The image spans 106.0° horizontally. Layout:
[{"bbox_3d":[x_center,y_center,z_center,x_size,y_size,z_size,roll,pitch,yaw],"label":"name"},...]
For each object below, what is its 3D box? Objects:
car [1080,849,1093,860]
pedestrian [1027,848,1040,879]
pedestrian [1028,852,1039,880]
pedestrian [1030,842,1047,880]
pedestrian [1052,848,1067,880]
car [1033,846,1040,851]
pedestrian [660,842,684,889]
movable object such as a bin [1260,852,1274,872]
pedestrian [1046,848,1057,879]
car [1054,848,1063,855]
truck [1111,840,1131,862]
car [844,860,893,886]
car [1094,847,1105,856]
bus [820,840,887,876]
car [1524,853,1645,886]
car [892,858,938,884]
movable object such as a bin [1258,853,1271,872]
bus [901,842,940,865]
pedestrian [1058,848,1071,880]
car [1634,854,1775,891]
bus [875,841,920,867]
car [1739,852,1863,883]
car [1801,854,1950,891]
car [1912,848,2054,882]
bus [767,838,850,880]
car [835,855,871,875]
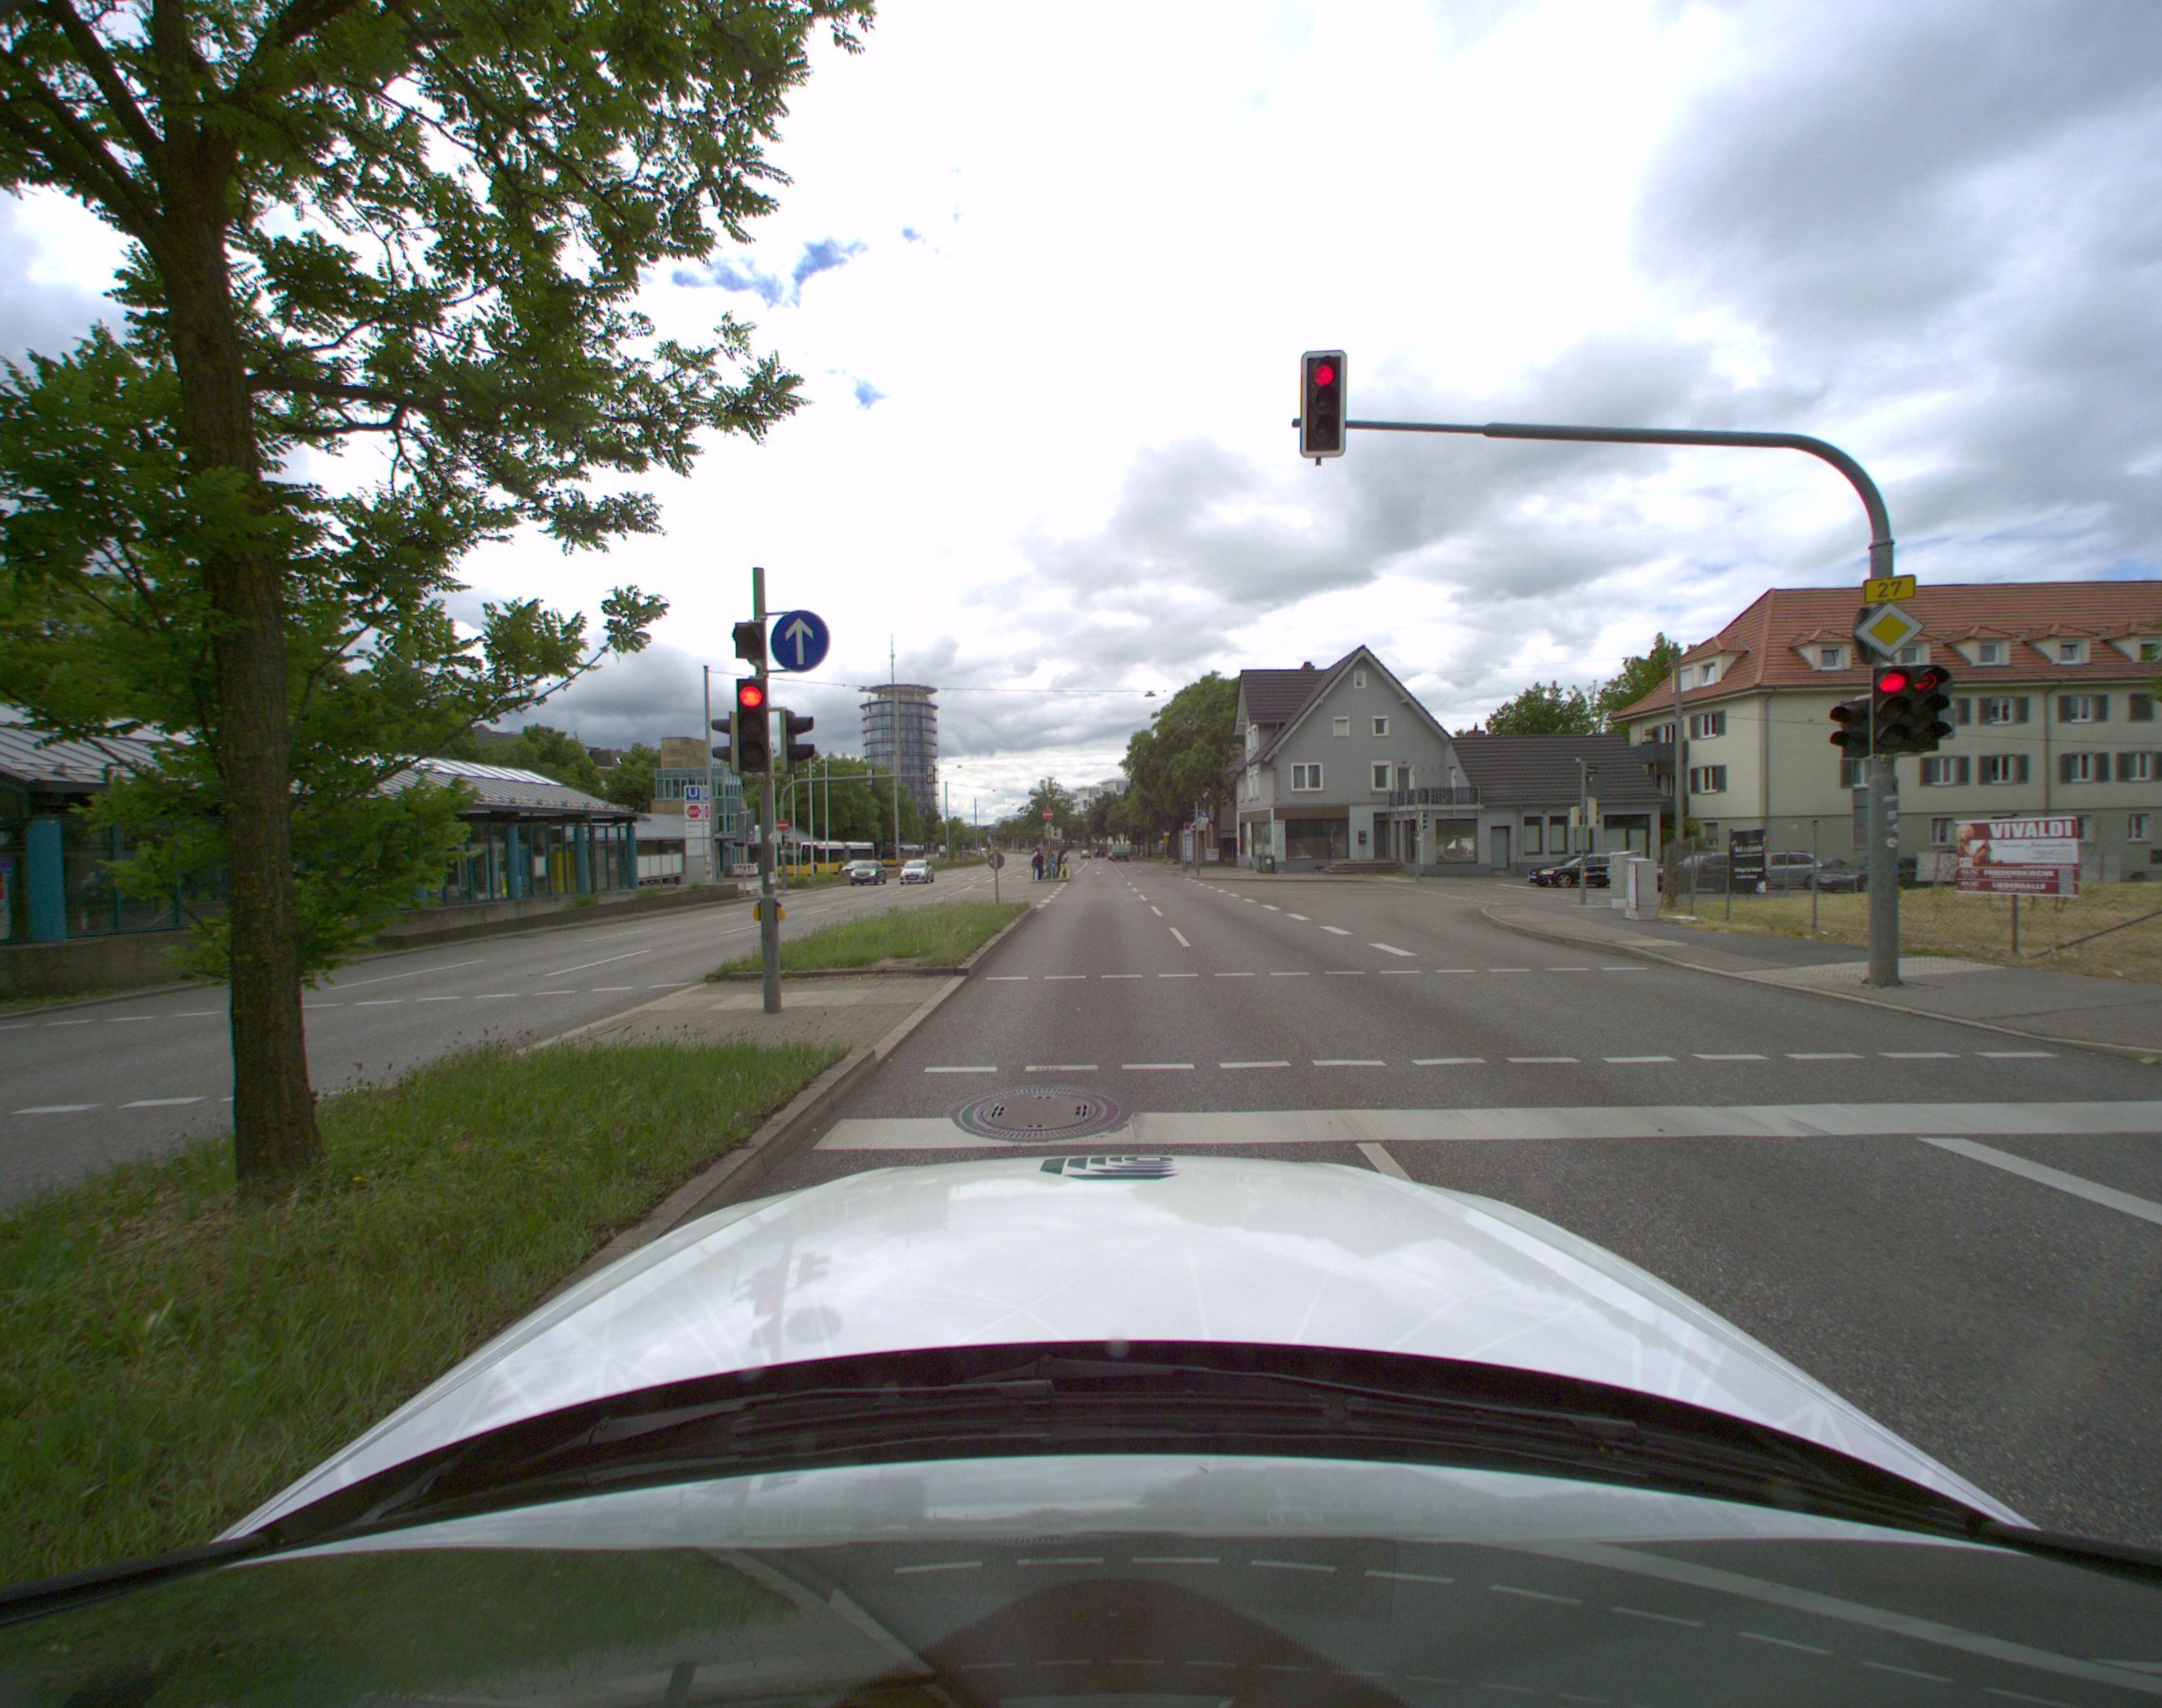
[{"bbox_3d":[0.925,0.141,138.220,1.986,1.830,4.001,-1,0,1],"label":"car"},{"bbox_3d":[-2.654,0.535,45.473,0.611,1.716,0.545,-2,0,-5],"label":"pedestrian"},{"bbox_3d":[-2.596,0.634,44.514,0.542,1.496,0.485,-2,0,-8],"label":"pedestrian"},{"bbox_3d":[-2.284,0.377,43.957,0.829,2.013,0.545,-2,0,-6],"label":"pedestrian"},{"bbox_3d":[-1.173,0.528,44.697,0.744,1.716,0.582,-2,0,-6],"label":"pedestrian"},{"bbox_3d":[-14.022,-1.665,255.651,1.992,1.552,3.990,-2,0,-7],"label":"car"},{"bbox_3d":[-17.545,0.488,34.944,0.680,2.013,0.645,-2,0,-3],"label":"pedestrian"},{"bbox_3d":[10.006,0.431,43.821,0.602,1.059,0.590,0,0,3],"label":"movable object such as a bin"},{"bbox_3d":[-1.666,0.548,45.859,0.582,1.716,0.545,-2,0,-5],"label":"pedestrian"},{"bbox_3d":[-4.844,-0.608,176.553,1.988,1.519,3.997,-2,0,-2],"label":"car"},{"bbox_3d":[5.131,-0.416,105.132,2.461,2.611,6.552,0,1,3],"label":"truck"},{"bbox_3d":[-13.451,1.174,51.806,1.987,1.486,4.000,-2,0,0],"label":"car"},{"bbox_3d":[3.297,-0.364,144.692,1.986,1.552,4.001,0,0,1],"label":"car"},{"bbox_3d":[-23.146,0.361,83.543,2.817,3.430,10.750,-2,0,6],"label":"bus"},{"bbox_3d":[21.377,0.648,34.692,4.075,1.371,1.800,0,0,0],"label":"car"},{"bbox_3d":[-10.394,1.042,51.347,1.987,1.486,4.000,-2,0,0],"label":"car"},{"bbox_3d":[10.004,0.460,44.380,0.613,1.043,0.590,0,0,3],"label":"movable object such as a bin"},{"bbox_3d":[-24.612,-0.092,125.660,2.817,3.430,10.750,-2,0,6],"label":"bus"},{"bbox_3d":[-0.901,0.543,44.189,0.652,1.716,0.451,-2,0,-6],"label":"pedestrian"},{"bbox_3d":[23.933,0.696,31.374,4.075,1.371,1.800,0,0,0],"label":"car"},{"bbox_3d":[-25.692,0.026,114.937,2.817,3.430,10.750,-2,0,6],"label":"bus"},{"bbox_3d":[32.855,0.611,37.239,4.075,1.371,1.800,0,0,0],"label":"car"},{"bbox_3d":[30.921,0.709,31.787,4.075,1.371,1.800,0,0,0],"label":"car"},{"bbox_3d":[38.293,0.456,34.655,4.075,1.371,1.800,0,0,0],"label":"car"},{"bbox_3d":[-24.199,0.382,73.120,2.817,3.430,10.750,-2,0,6],"label":"bus"},{"bbox_3d":[-20.102,0.942,71.959,1.798,1.662,4.003,-2,0,3],"label":"car"}]
